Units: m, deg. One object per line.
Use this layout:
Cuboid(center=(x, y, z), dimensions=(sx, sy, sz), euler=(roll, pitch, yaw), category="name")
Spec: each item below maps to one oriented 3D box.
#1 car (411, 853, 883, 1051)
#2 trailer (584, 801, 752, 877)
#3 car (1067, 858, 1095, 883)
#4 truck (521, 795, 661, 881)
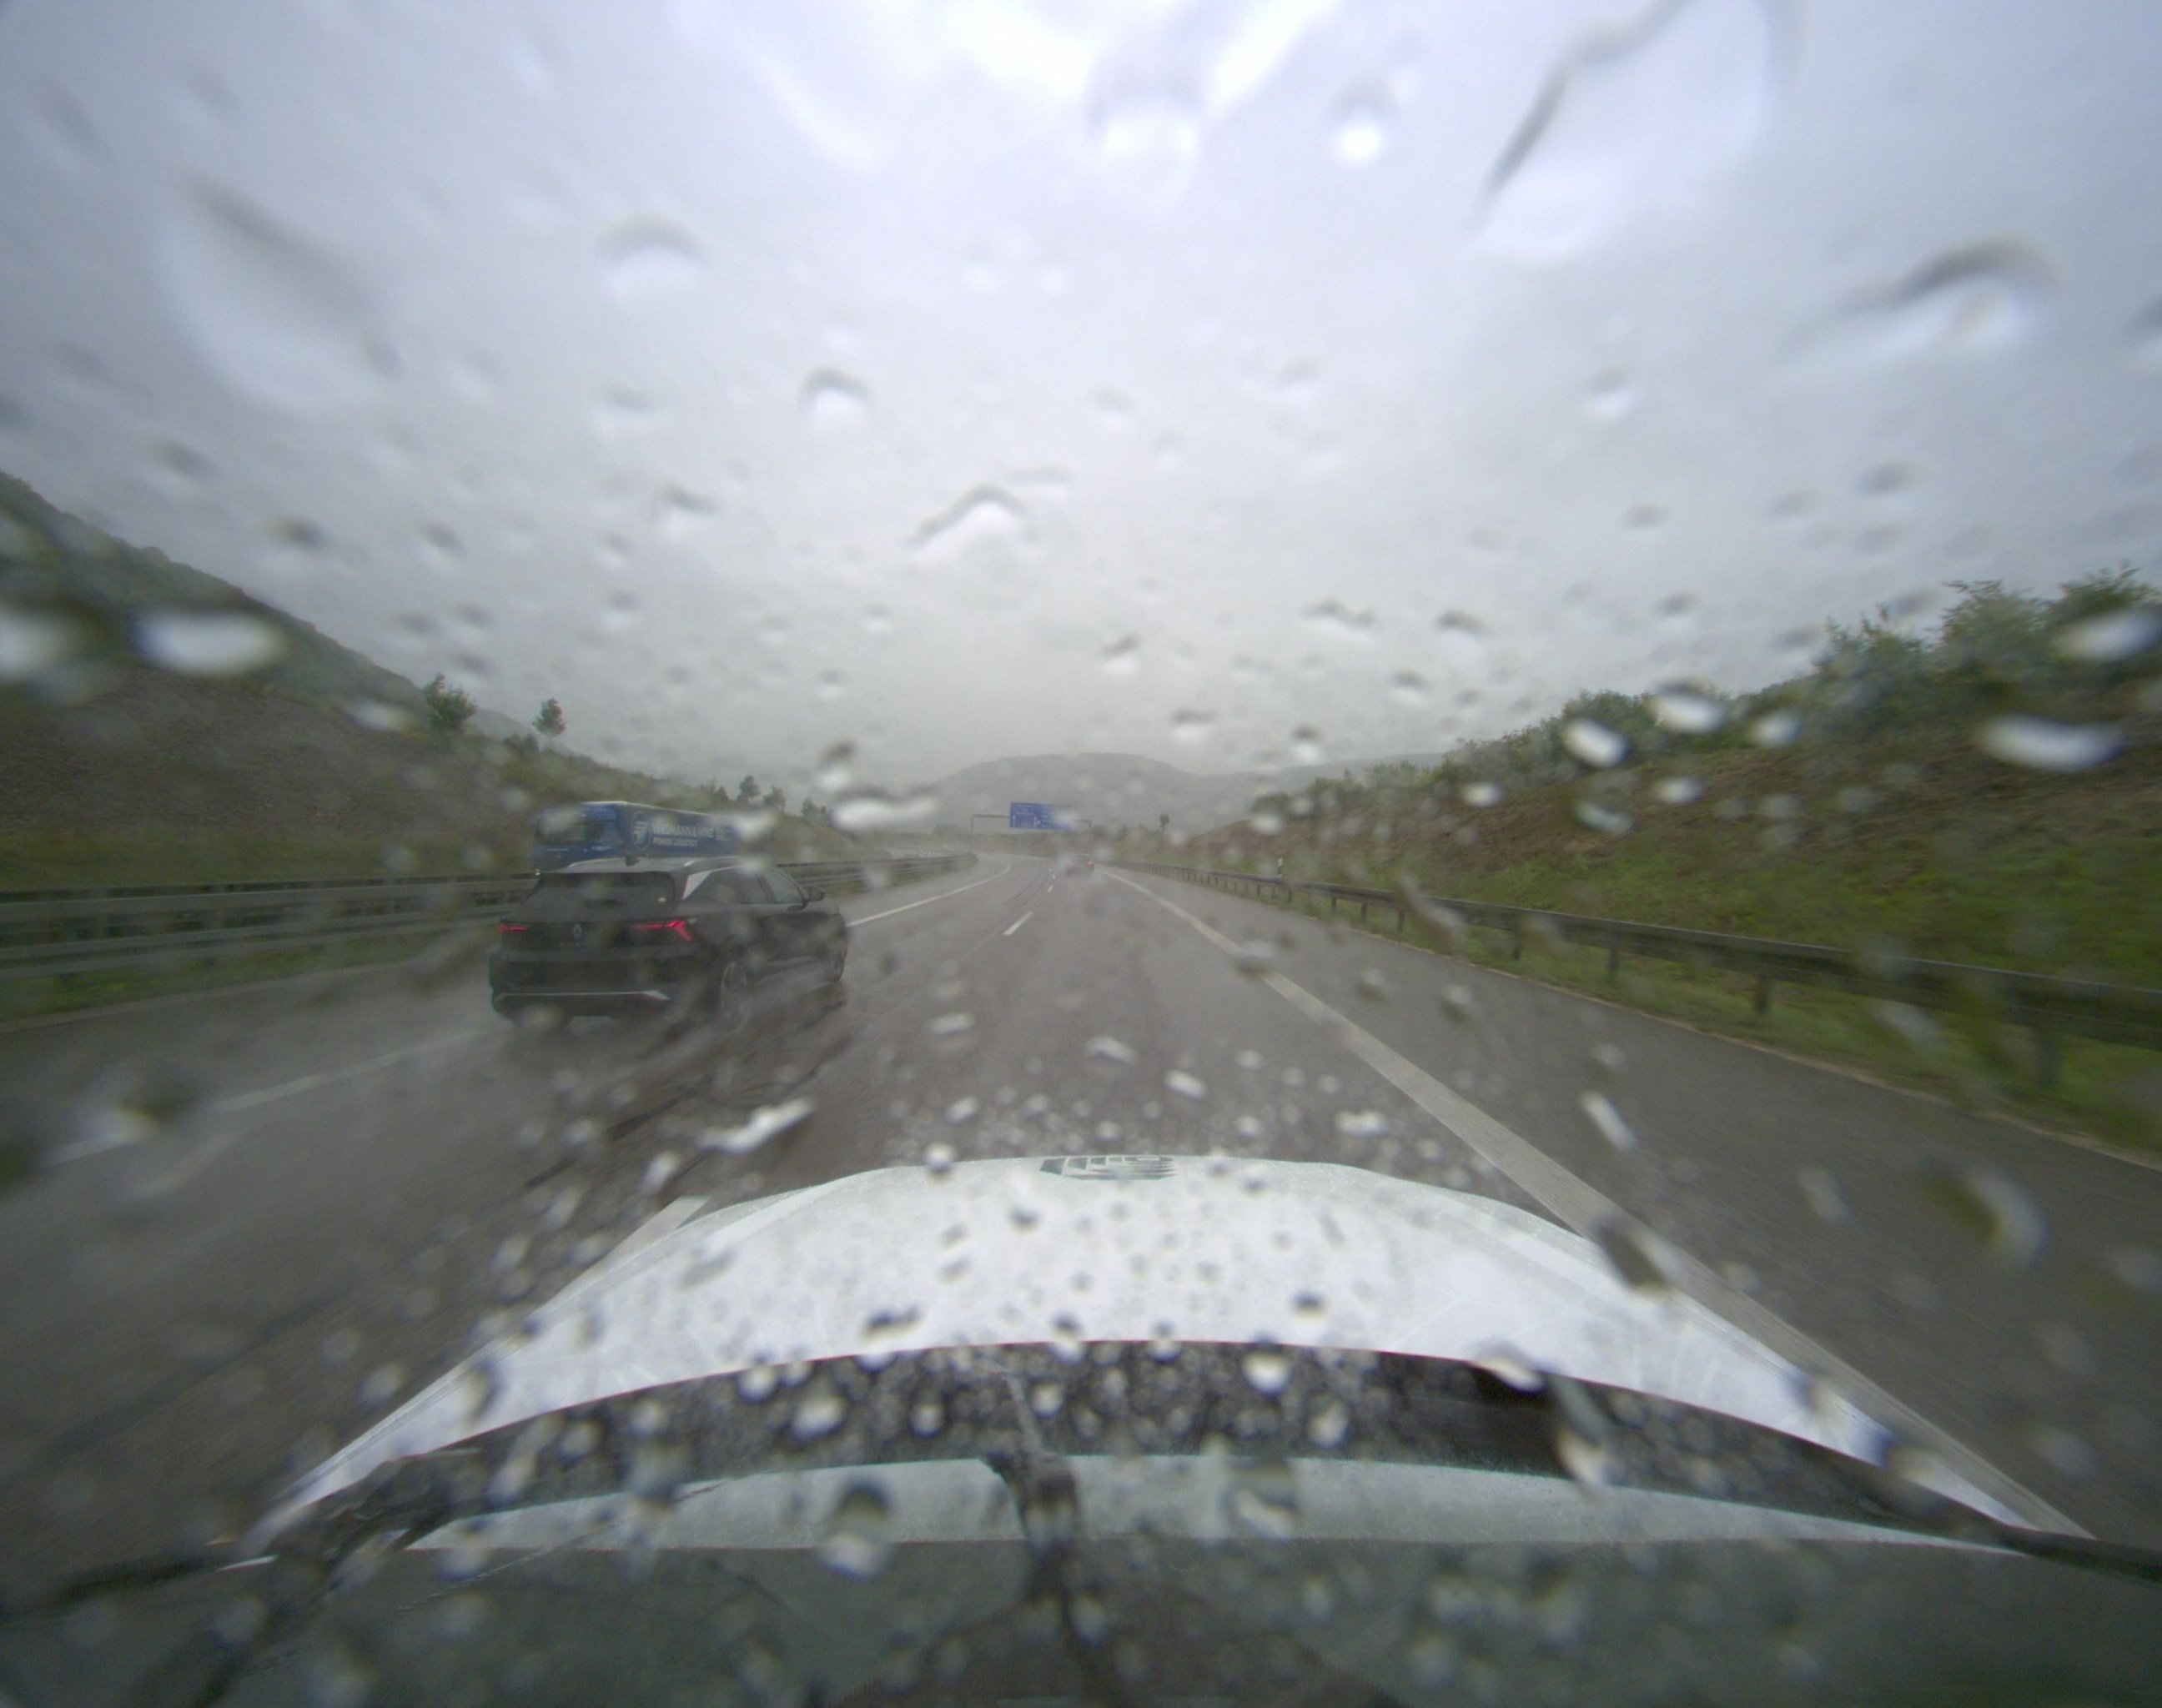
Cuboid(center=(-3.936, 0.760, 8.689), dimensions=(2.398, 1.515, 4.784), euler=(0, 0, 0), category="car")
Cuboid(center=(-22.649, -0.736, 45.999), dimensions=(2.804, 3.681, 13.242), euler=(-1, 0, 0), category="trailer")
Cuboid(center=(0.035, 1.019, 52.206), dimensions=(1.672, 1.472, 3.817), euler=(1, 0, 2), category="car")
Cuboid(center=(-22.586, -0.693, 37.971), dimensions=(2.772, 3.683, 6.204), euler=(-1, 0, -1), category="truck")
